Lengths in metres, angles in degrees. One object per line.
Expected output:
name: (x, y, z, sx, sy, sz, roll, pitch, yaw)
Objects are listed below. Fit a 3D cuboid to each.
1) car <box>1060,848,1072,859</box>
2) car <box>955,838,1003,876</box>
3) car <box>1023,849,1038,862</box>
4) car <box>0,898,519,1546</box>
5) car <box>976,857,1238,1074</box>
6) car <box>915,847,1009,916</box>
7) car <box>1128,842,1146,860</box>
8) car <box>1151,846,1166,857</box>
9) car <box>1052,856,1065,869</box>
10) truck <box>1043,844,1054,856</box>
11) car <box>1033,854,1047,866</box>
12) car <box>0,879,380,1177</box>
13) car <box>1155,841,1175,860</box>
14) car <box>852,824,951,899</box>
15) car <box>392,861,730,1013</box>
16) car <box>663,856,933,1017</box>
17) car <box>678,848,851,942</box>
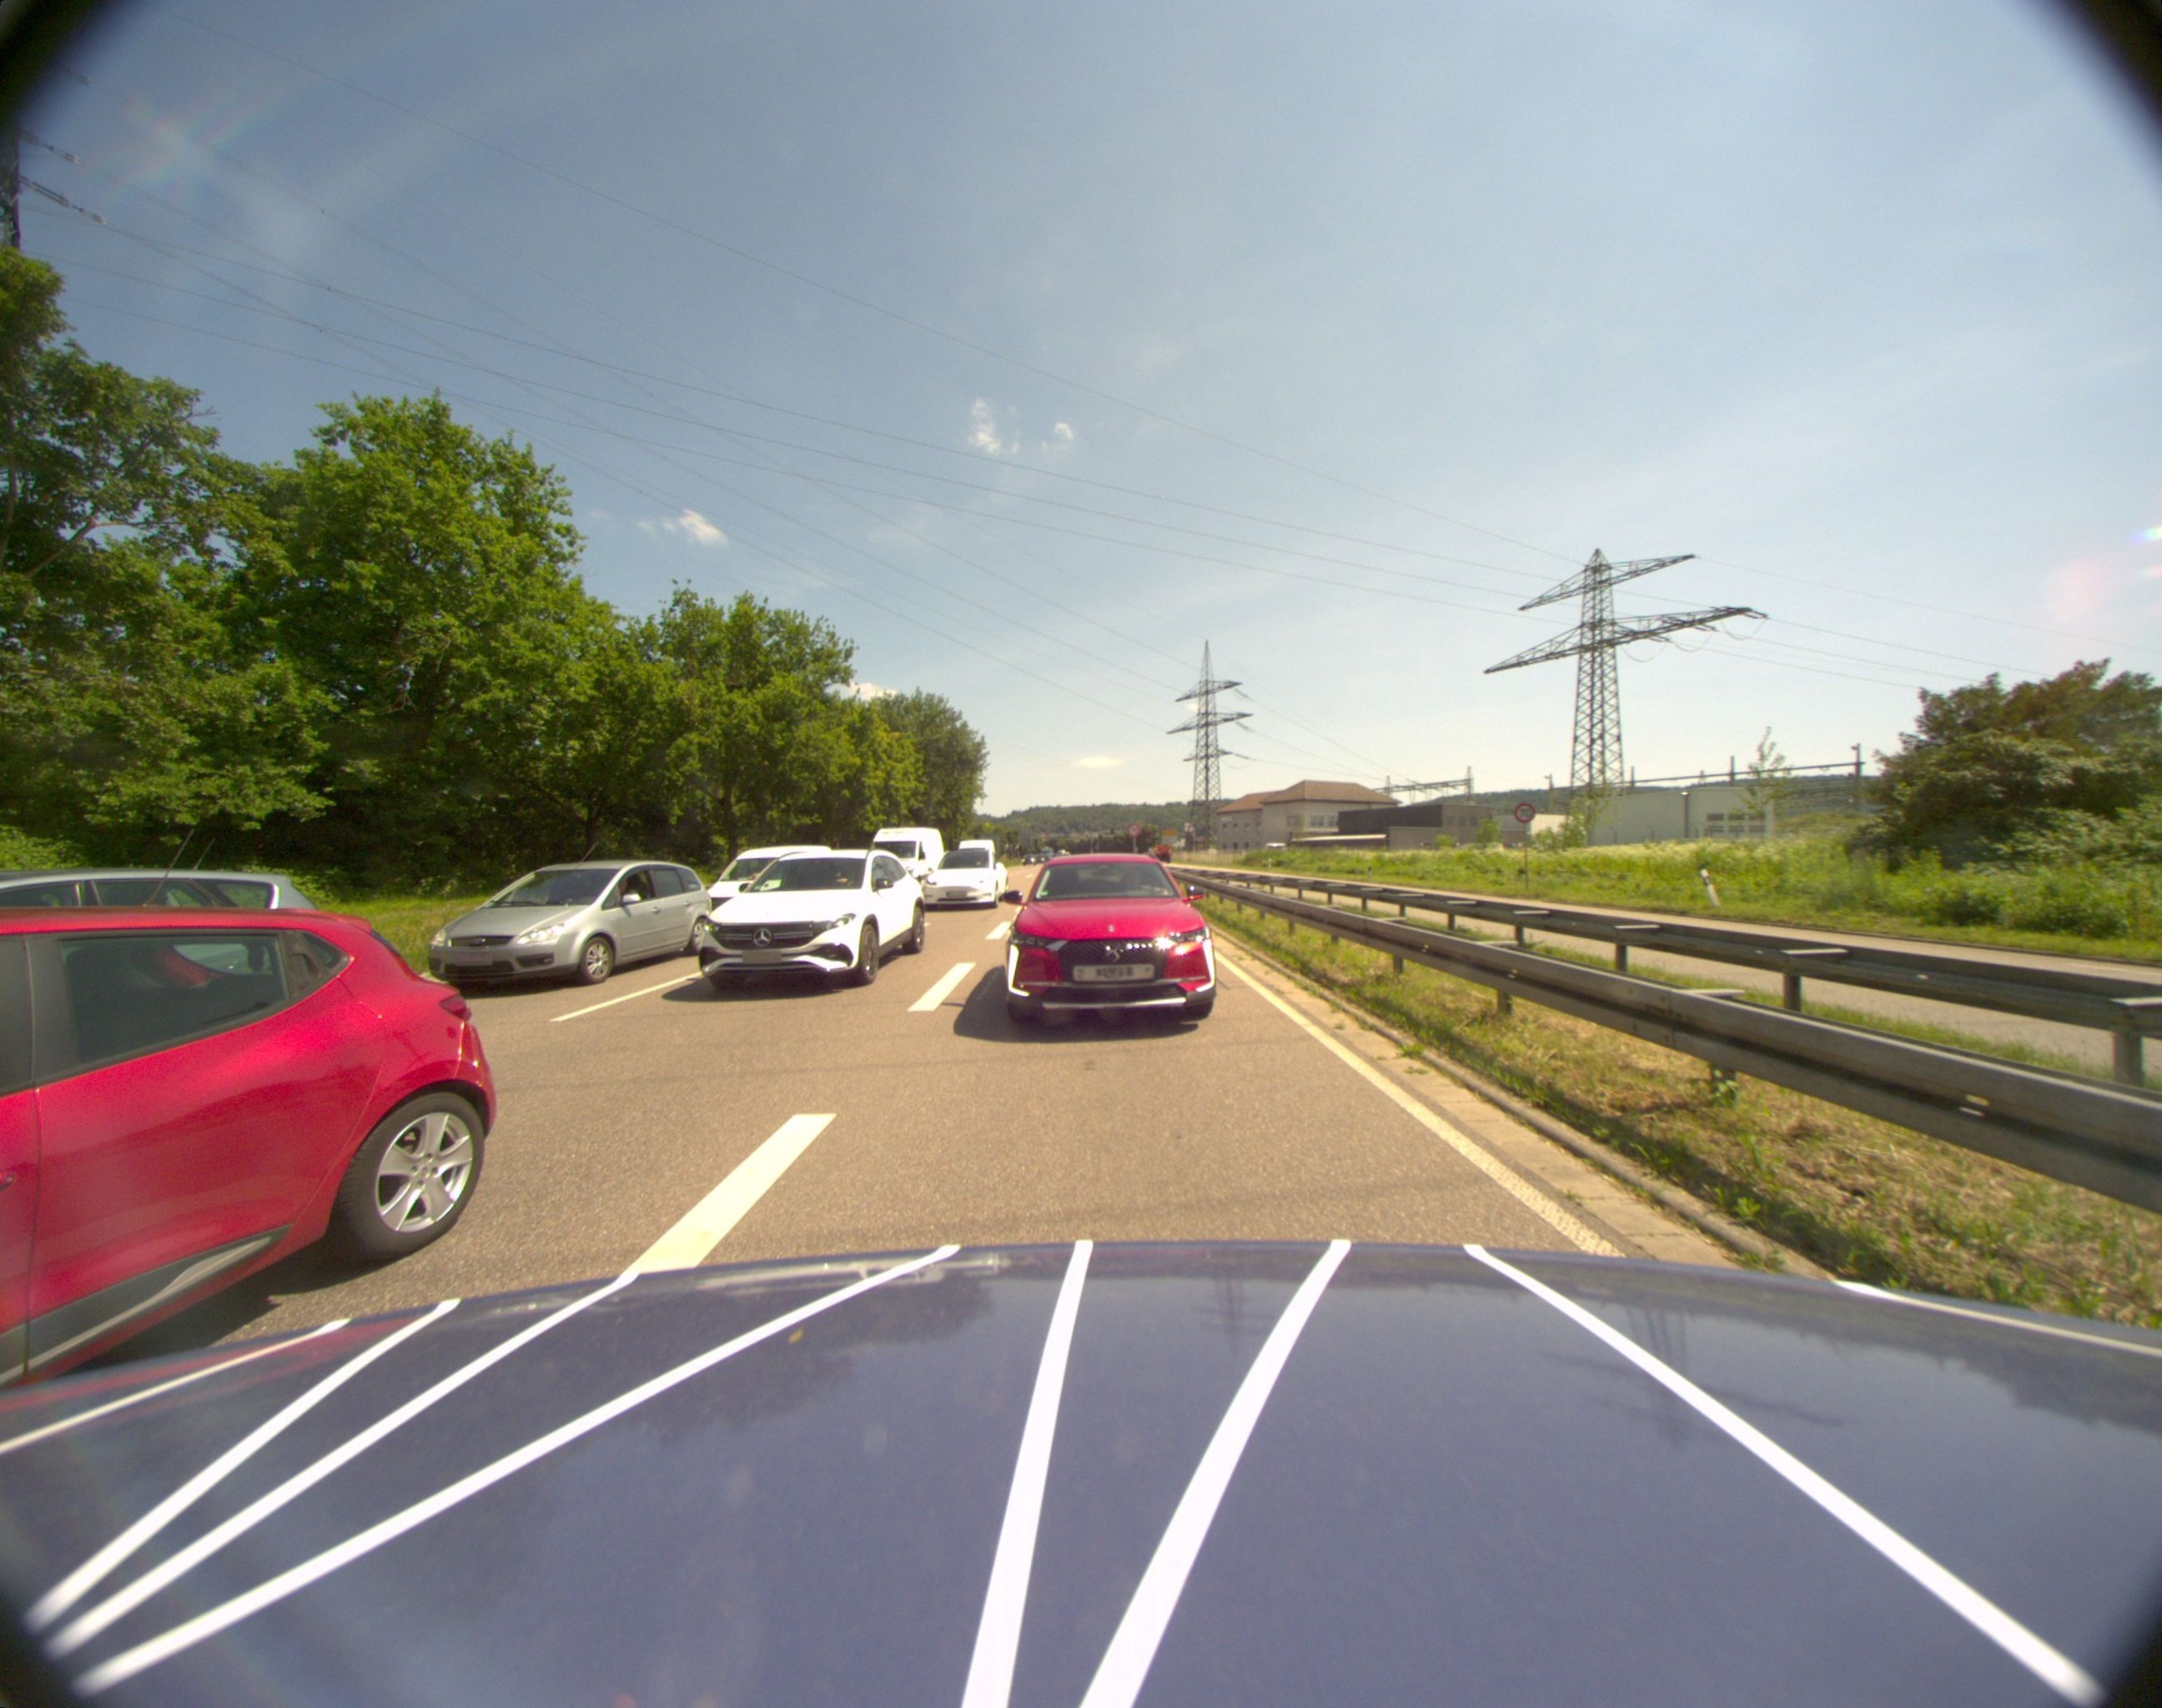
car: (-2.641, -0.088, 133.884, 1.998, 1.752, 4.000, 0, 1, 2)
car: (-6.959, 0.148, 52.456, 2.308, 2.408, 5.813, -2, 1, 1)
car: (-7.194, 0.178, 108.374, 1.878, 1.674, 3.998, -2, 1, -2)
car: (-3.504, 0.978, 1.485, 1.747, 1.453, 4.064, -2, 1, 0)
car: (0.212, 0.816, 7.697, 1.846, 1.453, 4.413, -2, 1, 1)
car: (-3.242, 0.690, 21.493, 2.022, 1.672, 3.999, -2, 1, -1)
car: (9.763, -0.595, 132.440, 2.607, 3.043, 5.638, 0, 1, -1)
car: (13.979, -0.420, 137.895, 1.999, 1.904, 3.998, -2, 1, -4)
car: (-3.315, 1.220, 110.906, 1.878, 1.674, 3.998, -2, 1, -2)
truck: (-6.675, -0.899, 158.458, 2.170, 2.428, 4.908, -2, 1, -2)
car: (-6.855, 0.988, 127.161, 1.998, 1.808, 3.999, -2, 1, 1)
car: (-6.984, 1.037, 4.479, 1.769, 1.586, 4.165, -1, 1, 1)
car: (14.152, -0.589, 128.313, 2.607, 3.043, 5.638, 0, 1, -1)
car: (-7.033, 0.242, 30.761, 2.232, 2.592, 7.017, -2, 1, 0)
car: (-6.892, 0.966, 10.765, 1.747, 1.585, 4.272, -2, 1, 1)
car: (-3.358, 0.870, 10.072, 1.850, 1.559, 4.363, -2, 1, 1)
car: (-6.978, 0.785, 17.459, 1.809, 1.790, 5.037, -2, 1, 0)
